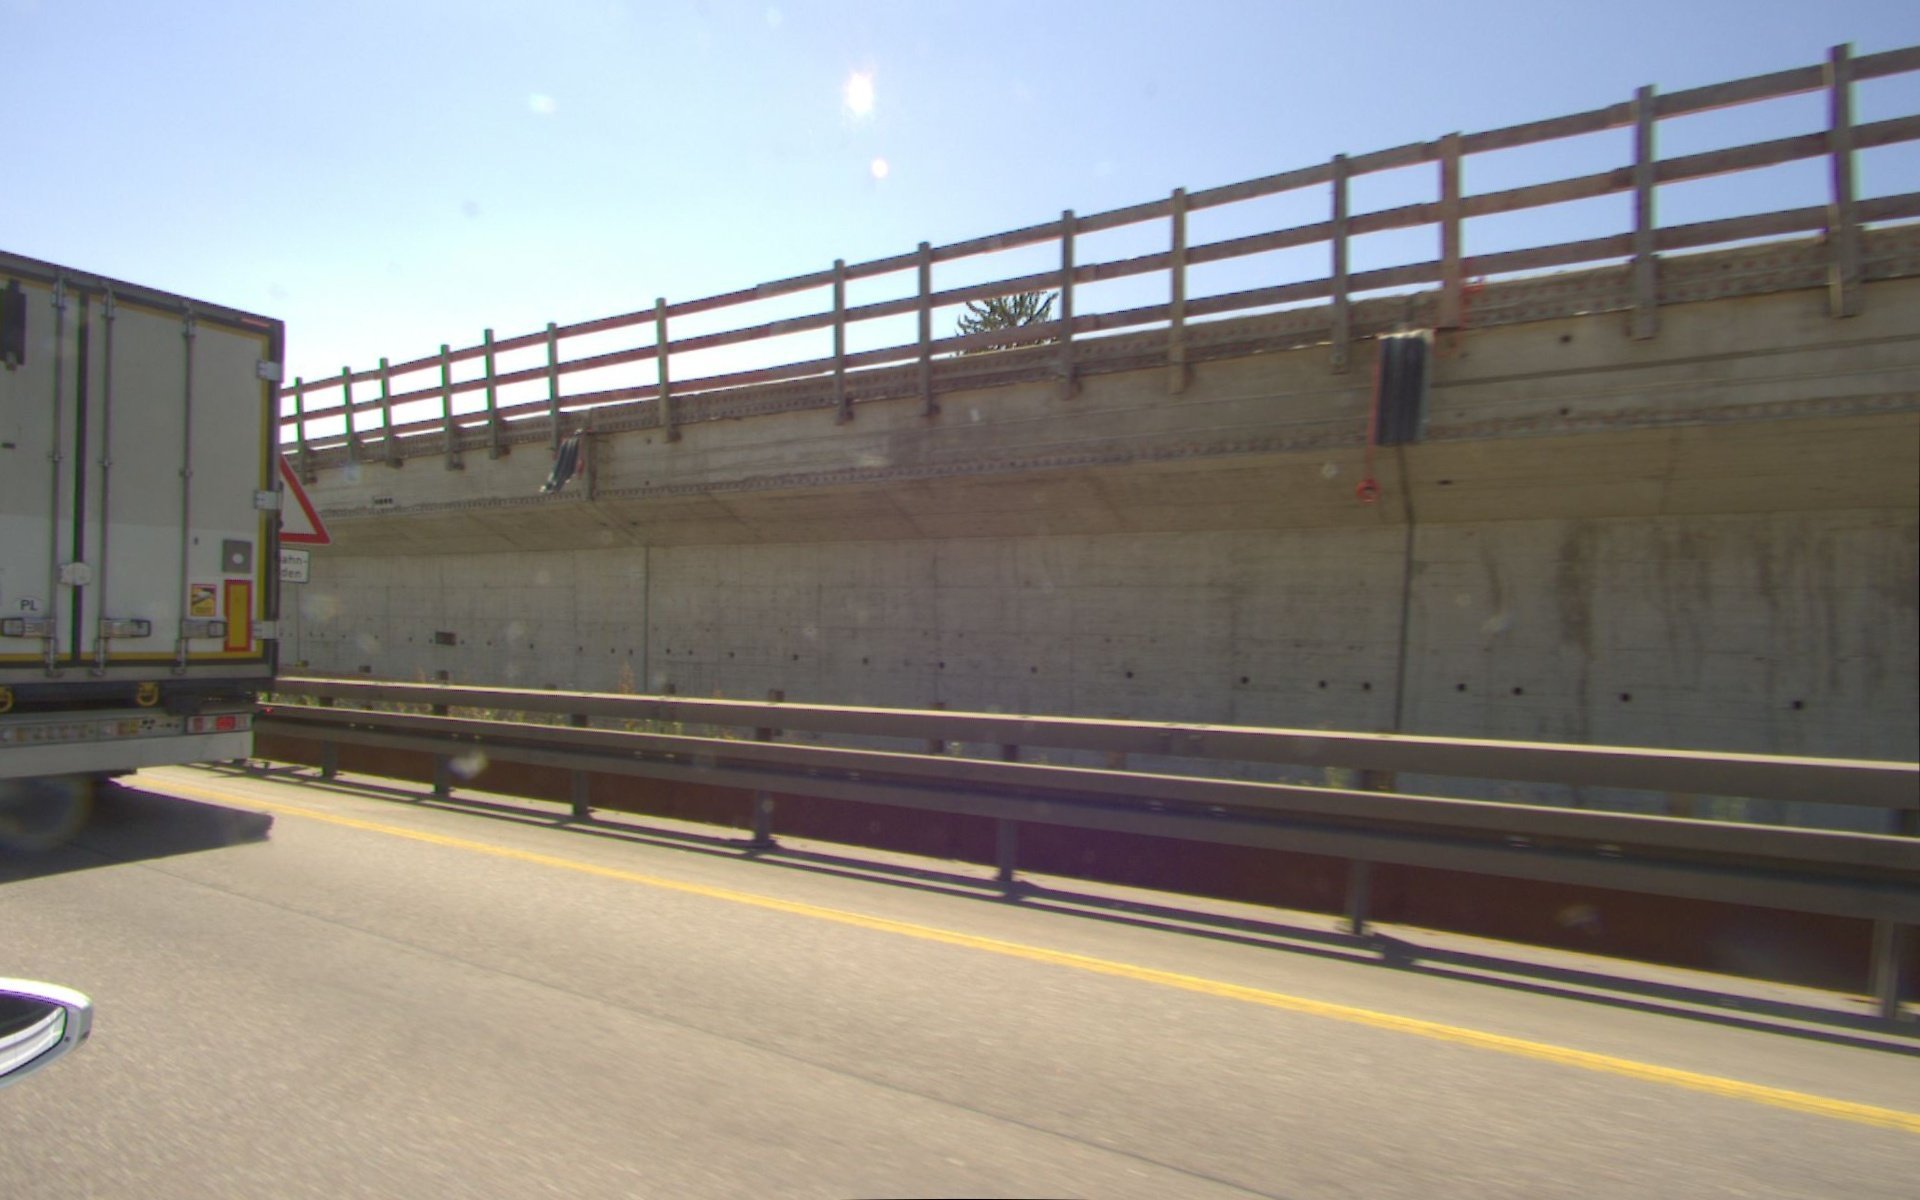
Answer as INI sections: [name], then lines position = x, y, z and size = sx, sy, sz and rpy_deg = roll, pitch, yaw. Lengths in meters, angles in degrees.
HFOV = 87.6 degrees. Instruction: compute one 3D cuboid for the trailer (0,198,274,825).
[trailer]
position = -11.026, -0.452, 10.009
size = 11.383, 4.179, 2.528
rpy_deg = -1, -2, 32
